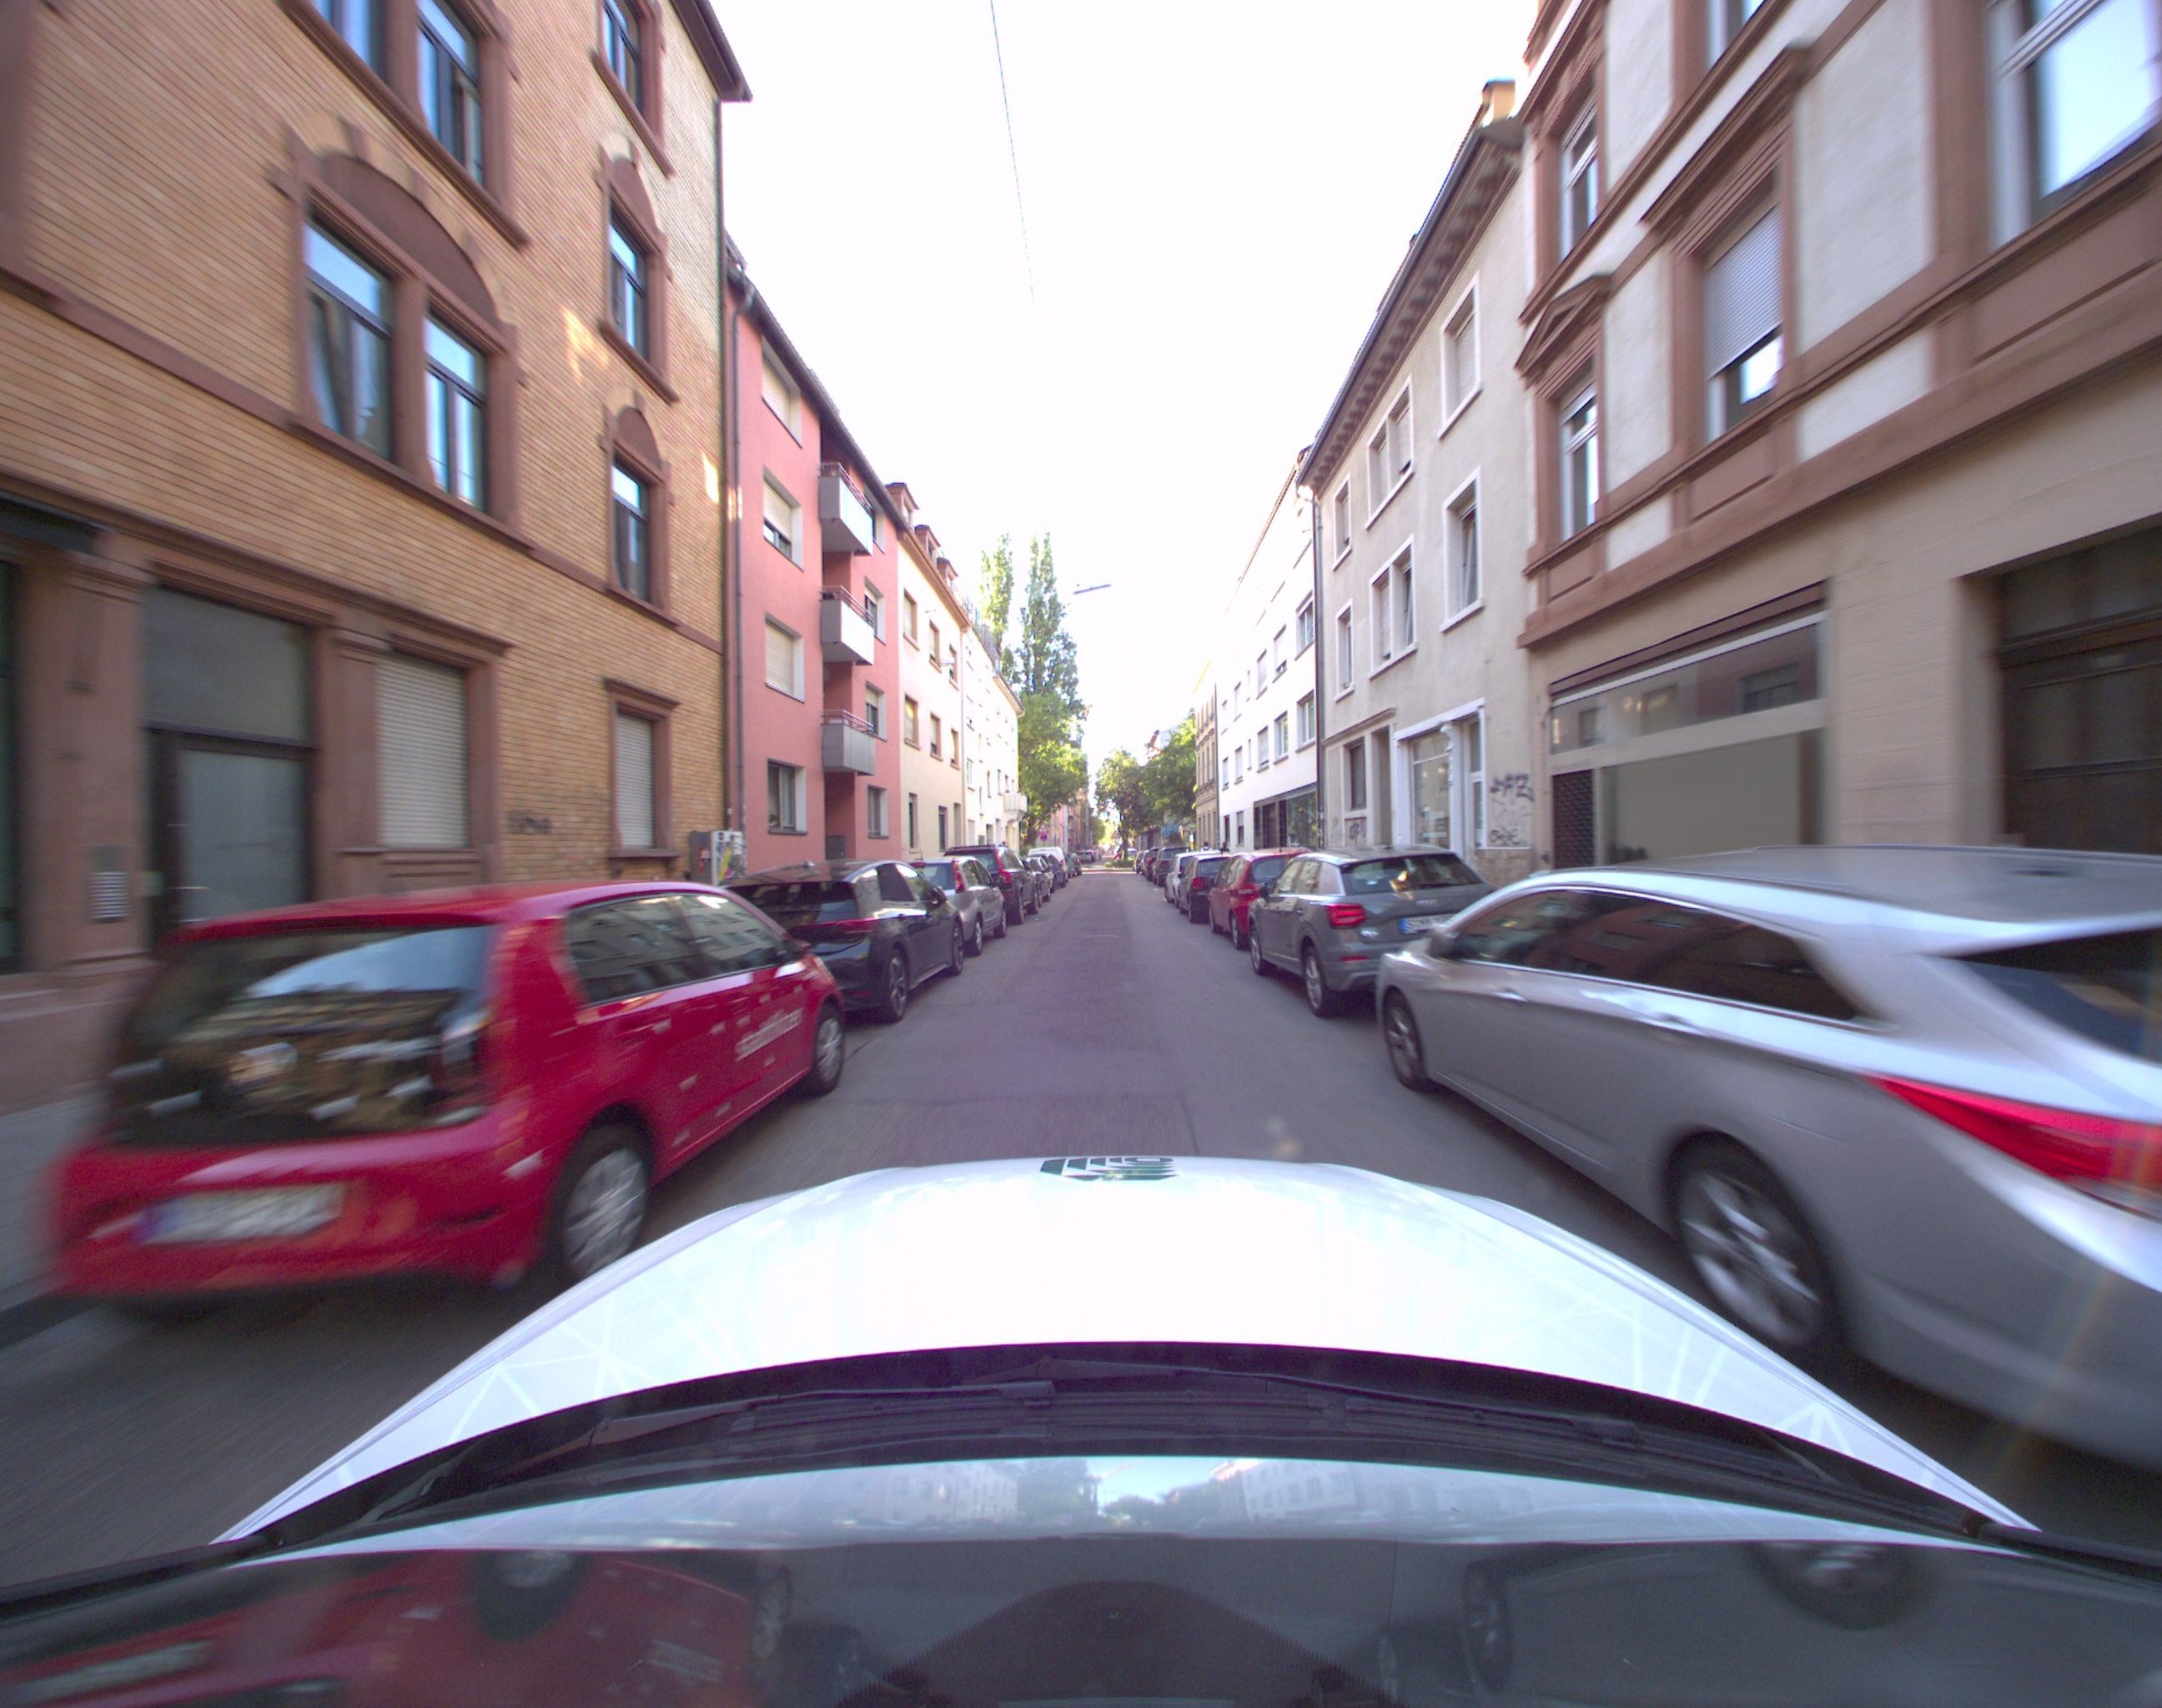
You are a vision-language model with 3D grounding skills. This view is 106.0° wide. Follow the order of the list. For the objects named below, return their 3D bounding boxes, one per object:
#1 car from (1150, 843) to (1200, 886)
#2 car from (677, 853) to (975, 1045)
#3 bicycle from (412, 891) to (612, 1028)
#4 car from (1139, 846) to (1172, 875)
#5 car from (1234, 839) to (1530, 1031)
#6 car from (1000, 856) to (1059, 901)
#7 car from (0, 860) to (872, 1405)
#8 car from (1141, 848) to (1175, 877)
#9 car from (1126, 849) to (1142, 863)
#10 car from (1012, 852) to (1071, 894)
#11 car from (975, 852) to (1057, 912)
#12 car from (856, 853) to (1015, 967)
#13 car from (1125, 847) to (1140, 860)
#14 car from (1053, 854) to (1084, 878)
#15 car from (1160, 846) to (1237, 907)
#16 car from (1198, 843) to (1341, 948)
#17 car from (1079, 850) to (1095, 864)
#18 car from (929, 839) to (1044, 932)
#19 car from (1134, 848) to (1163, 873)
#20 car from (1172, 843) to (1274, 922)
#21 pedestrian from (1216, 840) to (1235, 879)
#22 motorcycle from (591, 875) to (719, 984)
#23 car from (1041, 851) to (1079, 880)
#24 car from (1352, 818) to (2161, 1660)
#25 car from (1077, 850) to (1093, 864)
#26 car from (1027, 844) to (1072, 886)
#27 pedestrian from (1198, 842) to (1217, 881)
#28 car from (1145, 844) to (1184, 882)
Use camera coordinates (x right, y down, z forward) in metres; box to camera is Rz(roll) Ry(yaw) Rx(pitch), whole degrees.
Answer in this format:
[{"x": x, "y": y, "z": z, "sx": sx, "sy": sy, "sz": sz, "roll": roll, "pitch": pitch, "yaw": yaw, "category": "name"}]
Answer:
[{"x": 4.029, "y": 0.430, "z": 35.539, "sx": 1.670, "sy": 1.627, "sz": 4.252, "roll": -6, "pitch": 0, "yaw": 1, "category": "car"}, {"x": -2.464, "y": 0.819, "z": 9.045, "sx": 1.688, "sy": 1.521, "sz": 4.100, "roll": -4, "pitch": 0, "yaw": 4, "category": "car"}, {"x": -5.506, "y": 0.960, "z": 8.043, "sx": 0.531, "sy": 1.074, "sz": 1.892, "roll": 2, "pitch": 0, "yaw": 3, "category": "bicycle"}, {"x": 4.526, "y": 0.373, "z": 49.959, "sx": 1.670, "sy": 1.561, "sz": 3.797, "roll": -4, "pitch": 0, "yaw": 1, "category": "car"}, {"x": 2.901, "y": 0.664, "z": 8.846, "sx": 1.737, "sy": 1.506, "sz": 4.022, "roll": -4, "pitch": 0, "yaw": 1, "category": "car"}, {"x": -1.793, "y": 0.831, "z": 29.542, "sx": 1.667, "sy": 1.388, "sz": 4.184, "roll": -4, "pitch": 0, "yaw": 2, "category": "car"}, {"x": -2.454, "y": 0.851, "z": 4.243, "sx": 1.622, "sy": 1.481, "sz": 3.602, "roll": -4, "pitch": 0, "yaw": 1, "category": "car"}, {"x": 4.306, "y": 0.444, "z": 45.748, "sx": 1.561, "sy": 1.483, "sz": 3.620, "roll": -4, "pitch": 0, "yaw": 1, "category": "car"}, {"x": 6.098, "y": 0.176, "z": 93.866, "sx": 1.670, "sy": 1.487, "sz": 3.639, "roll": -4, "pitch": 0, "yaw": 1, "category": "car"}, {"x": -1.582, "y": 0.755, "z": 33.968, "sx": 1.664, "sy": 1.486, "sz": 4.000, "roll": -4, "pitch": 0, "yaw": 7, "category": "car"}, {"x": -1.861, "y": 0.771, "z": 24.510, "sx": 1.736, "sy": 1.506, "sz": 4.351, "roll": -4, "pitch": 0, "yaw": 4, "category": "car"}, {"x": -2.280, "y": 0.813, "z": 13.805, "sx": 1.649, "sy": 1.521, "sz": 3.948, "roll": -4, "pitch": 0, "yaw": 4, "category": "car"}, {"x": 6.313, "y": -0.127, "z": 100.277, "sx": 1.670, "sy": 1.487, "sz": 3.639, "roll": -4, "pitch": 0, "yaw": 1, "category": "car"}, {"x": -0.735, "y": 0.734, "z": 51.607, "sx": 1.664, "sy": 1.361, "sz": 4.051, "roll": -4, "pitch": 0, "yaw": 2, "category": "car"}, {"x": 3.287, "y": 0.571, "z": 23.474, "sx": 1.670, "sy": 1.506, "sz": 3.939, "roll": -4, "pitch": 0, "yaw": 1, "category": "car"}, {"x": 3.162, "y": 0.610, "z": 14.484, "sx": 1.592, "sy": 1.506, "sz": 4.186, "roll": -4, "pitch": 0, "yaw": 1, "category": "car"}, {"x": 0.730, "y": 0.315, "z": 98.056, "sx": 1.670, "sy": 1.487, "sz": 4.096, "roll": -4, "pitch": 0, "yaw": 1, "category": "car"}, {"x": -2.051, "y": 0.629, "z": 19.102, "sx": 1.736, "sy": 1.811, "sz": 4.677, "roll": -4, "pitch": 0, "yaw": 4, "category": "car"}, {"x": 4.511, "y": 0.402, "z": 54.867, "sx": 1.670, "sy": 1.487, "sz": 4.096, "roll": -4, "pitch": 0, "yaw": 1, "category": "car"}, {"x": 3.131, "y": 0.569, "z": 18.681, "sx": 1.670, "sy": 1.506, "sz": 3.939, "roll": -4, "pitch": 0, "yaw": 1, "category": "car"}, {"x": 6.333, "y": 0.238, "z": 35.695, "sx": 0.683, "sy": 1.660, "sz": 0.718, "roll": -3, "pitch": 0, "yaw": 2, "category": "pedestrian"}, {"x": -5.400, "y": 0.905, "z": 10.462, "sx": 0.531, "sy": 1.206, "sz": 1.910, "roll": -2, "pitch": 0, "yaw": 3, "category": "motorcycle"}, {"x": -1.173, "y": 0.636, "z": 47.342, "sx": 1.662, "sy": 1.469, "sz": 3.826, "roll": -4, "pitch": 0, "yaw": 5, "category": "car"}, {"x": 2.848, "y": 0.678, "z": 3.704, "sx": 1.738, "sy": 1.506, "sz": 4.358, "roll": -4, "pitch": 0, "yaw": 0, "category": "car"}, {"x": 0.480, "y": 0.330, "z": 92.541, "sx": 1.670, "sy": 1.487, "sz": 4.096, "roll": -4, "pitch": 0, "yaw": 1, "category": "car"}, {"x": -1.421, "y": 0.487, "z": 38.599, "sx": 1.759, "sy": 1.785, "sz": 4.040, "roll": -4, "pitch": 0, "yaw": 1, "category": "car"}, {"x": 5.538, "y": 0.304, "z": 35.670, "sx": 0.683, "sy": 1.660, "sz": 0.718, "roll": -3, "pitch": 0, "yaw": 2, "category": "pedestrian"}, {"x": 4.110, "y": 0.438, "z": 40.493, "sx": 1.669, "sy": 1.681, "sz": 4.098, "roll": -4, "pitch": -1, "yaw": 3, "category": "car"}]
